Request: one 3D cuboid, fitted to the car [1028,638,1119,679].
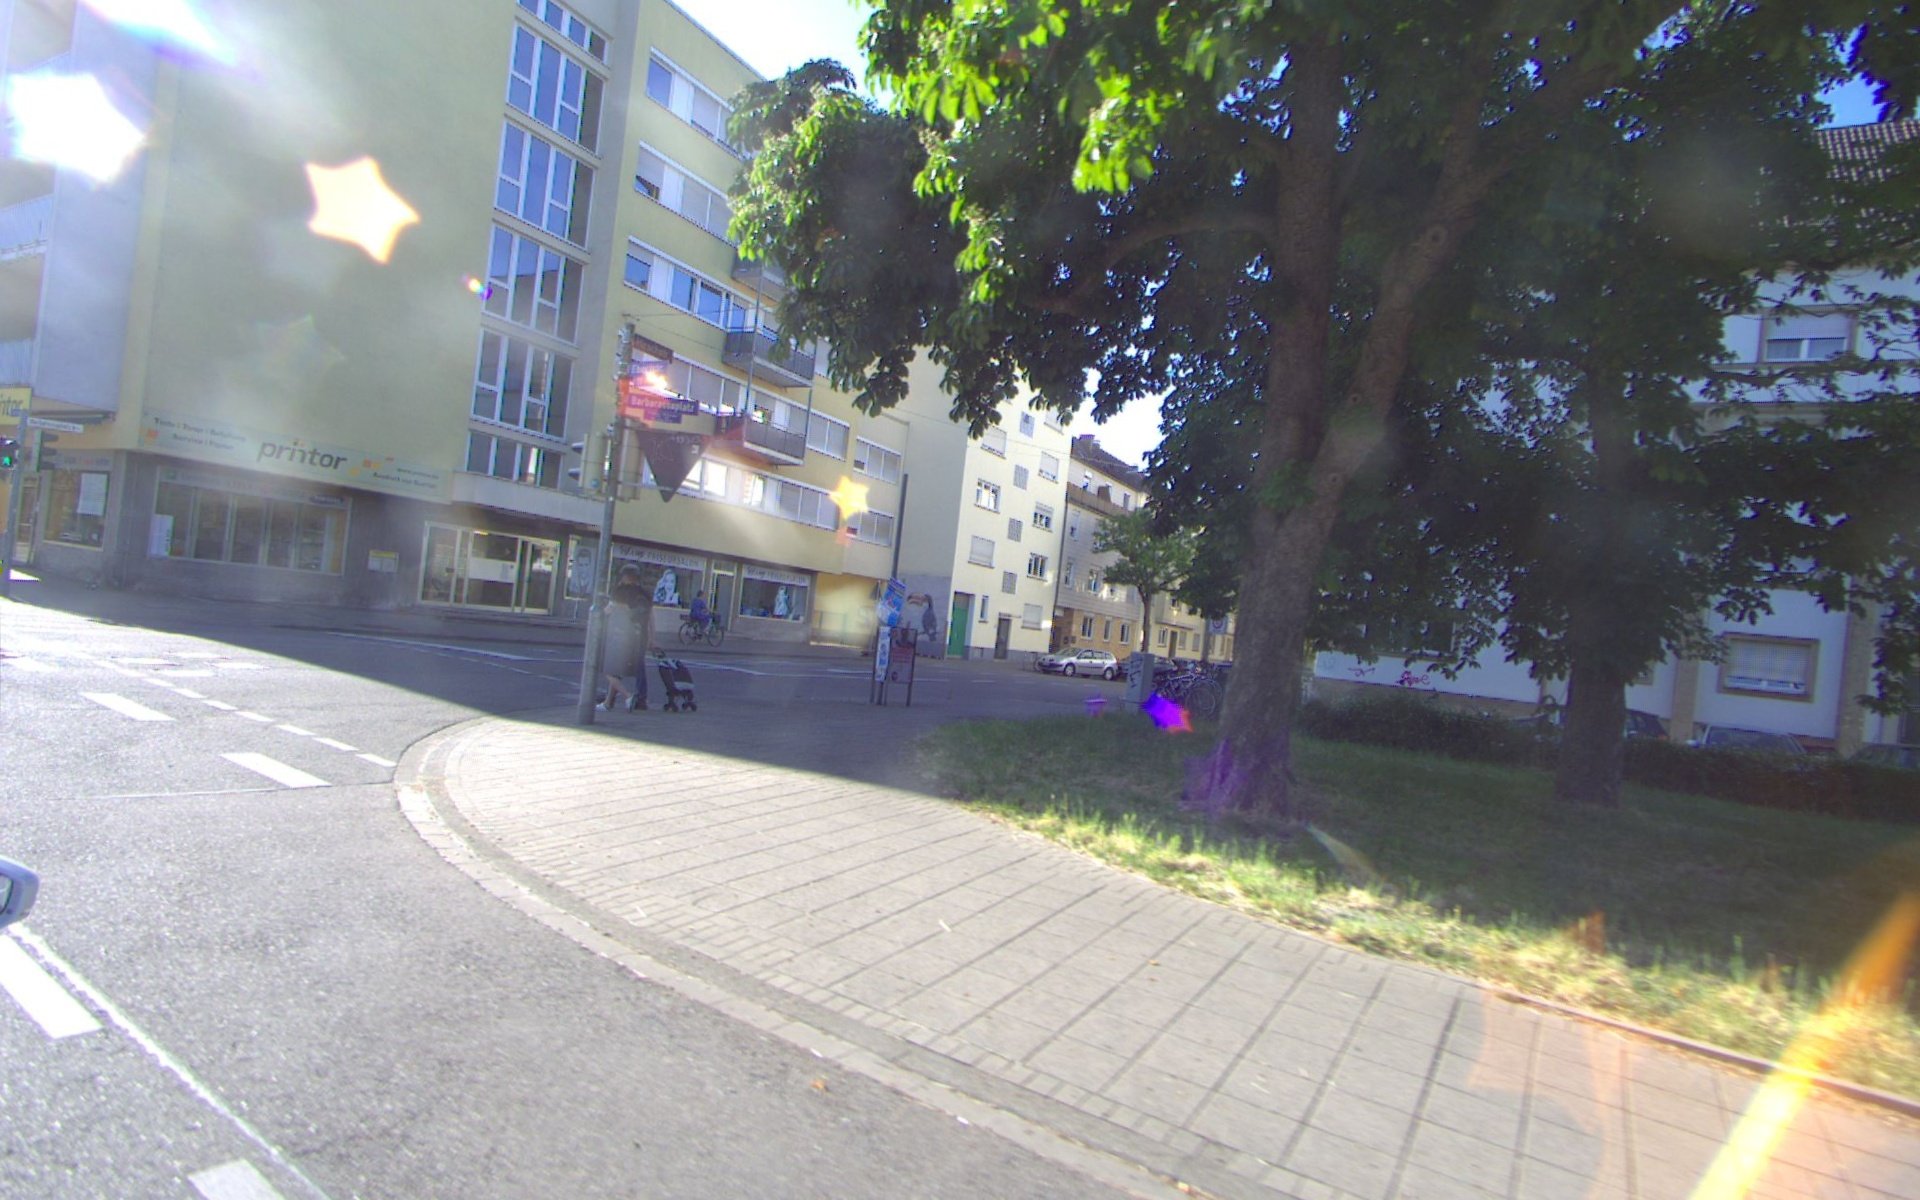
[{"bbox_3d":[5.562,2.862,49.074,4.136,1.525,1.899,8,-2,-38],"label":"car"}]

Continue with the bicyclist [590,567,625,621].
[{"bbox_3d":[-11.732,-0.187,33.473,0.628,1.700,0.684,6,0,27],"label":"bicyclist"}]

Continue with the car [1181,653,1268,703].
[{"bbox_3d":[10.686,3.164,40.430,1.969,1.670,3.989,6,-2,36],"label":"car"}]

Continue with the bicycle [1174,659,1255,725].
[{"bbox_3d":[6.402,2.300,25.385,1.798,1.404,0.432,7,0,30],"label":"bicycle"}]

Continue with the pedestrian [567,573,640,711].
[{"bbox_3d":[-4.236,0.489,11.980,0.509,1.566,0.505,5,1,15],"label":"pedestrian"}]

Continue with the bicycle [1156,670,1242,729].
[{"bbox_3d":[5.504,2.279,23.262,1.798,1.108,0.365,6,0,30],"label":"bicycle"}]

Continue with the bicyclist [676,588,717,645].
[{"bbox_3d":[-8.623,0.537,32.883,0.804,1.737,0.754,8,0,33],"label":"bicyclist"}]

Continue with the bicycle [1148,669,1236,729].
[{"bbox_3d":[5.226,2.222,22.746,1.798,1.108,0.365,6,0,30],"label":"bicycle"}]

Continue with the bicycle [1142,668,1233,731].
[{"bbox_3d":[4.953,2.155,21.964,1.798,1.108,0.365,6,0,30],"label":"bicycle"}]

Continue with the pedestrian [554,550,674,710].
[{"bbox_3d":[-4.323,0.366,12.614,1.014,1.851,0.789,5,1,15],"label":"pedestrian"}]

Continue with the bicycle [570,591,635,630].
[{"bbox_3d":[-11.834,0.367,33.396,0.631,1.071,2.086,7,-2,27],"label":"bicycle"}]

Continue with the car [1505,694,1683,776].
[{"bbox_3d":[17.540,3.692,28.046,3.933,1.588,1.845,6,-1,30],"label":"car"}]

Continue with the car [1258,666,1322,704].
[{"bbox_3d":[15.881,4.119,48.306,1.665,1.511,3.989,6,-2,36],"label":"car"}]

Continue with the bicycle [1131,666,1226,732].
[{"bbox_3d":[4.536,2.057,20.979,1.798,1.108,0.365,6,0,30],"label":"bicycle"}]

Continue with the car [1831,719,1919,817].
[{"bbox_3d":[16.953,2.969,17.567,1.968,1.465,3.992,6,-2,33],"label":"car"}]

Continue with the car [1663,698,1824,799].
[{"bbox_3d":[14.993,2.779,19.478,1.968,1.465,3.992,6,-2,33],"label":"car"}]

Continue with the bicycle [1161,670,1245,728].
[{"bbox_3d":[5.724,2.322,23.732,1.798,1.108,0.365,6,0,30],"label":"bicycle"}]

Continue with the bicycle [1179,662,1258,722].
[{"bbox_3d":[6.660,2.358,25.973,1.798,1.301,0.432,7,0,30],"label":"bicycle"}]

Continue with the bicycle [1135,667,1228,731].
[{"bbox_3d":[4.728,2.108,21.535,1.798,1.108,0.365,6,0,30],"label":"bicycle"}]

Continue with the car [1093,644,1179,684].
[{"bbox_3d":[9.121,3.312,51.913,4.189,1.537,1.979,8,-2,-38],"label":"car"}]

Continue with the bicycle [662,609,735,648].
[{"bbox_3d":[-8.558,0.942,33.062,0.833,1.062,2.267,6,-1,33],"label":"bicycle"}]

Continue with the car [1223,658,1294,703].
[{"bbox_3d":[13.276,3.583,44.599,1.665,1.670,3.989,6,-2,36],"label":"car"}]
